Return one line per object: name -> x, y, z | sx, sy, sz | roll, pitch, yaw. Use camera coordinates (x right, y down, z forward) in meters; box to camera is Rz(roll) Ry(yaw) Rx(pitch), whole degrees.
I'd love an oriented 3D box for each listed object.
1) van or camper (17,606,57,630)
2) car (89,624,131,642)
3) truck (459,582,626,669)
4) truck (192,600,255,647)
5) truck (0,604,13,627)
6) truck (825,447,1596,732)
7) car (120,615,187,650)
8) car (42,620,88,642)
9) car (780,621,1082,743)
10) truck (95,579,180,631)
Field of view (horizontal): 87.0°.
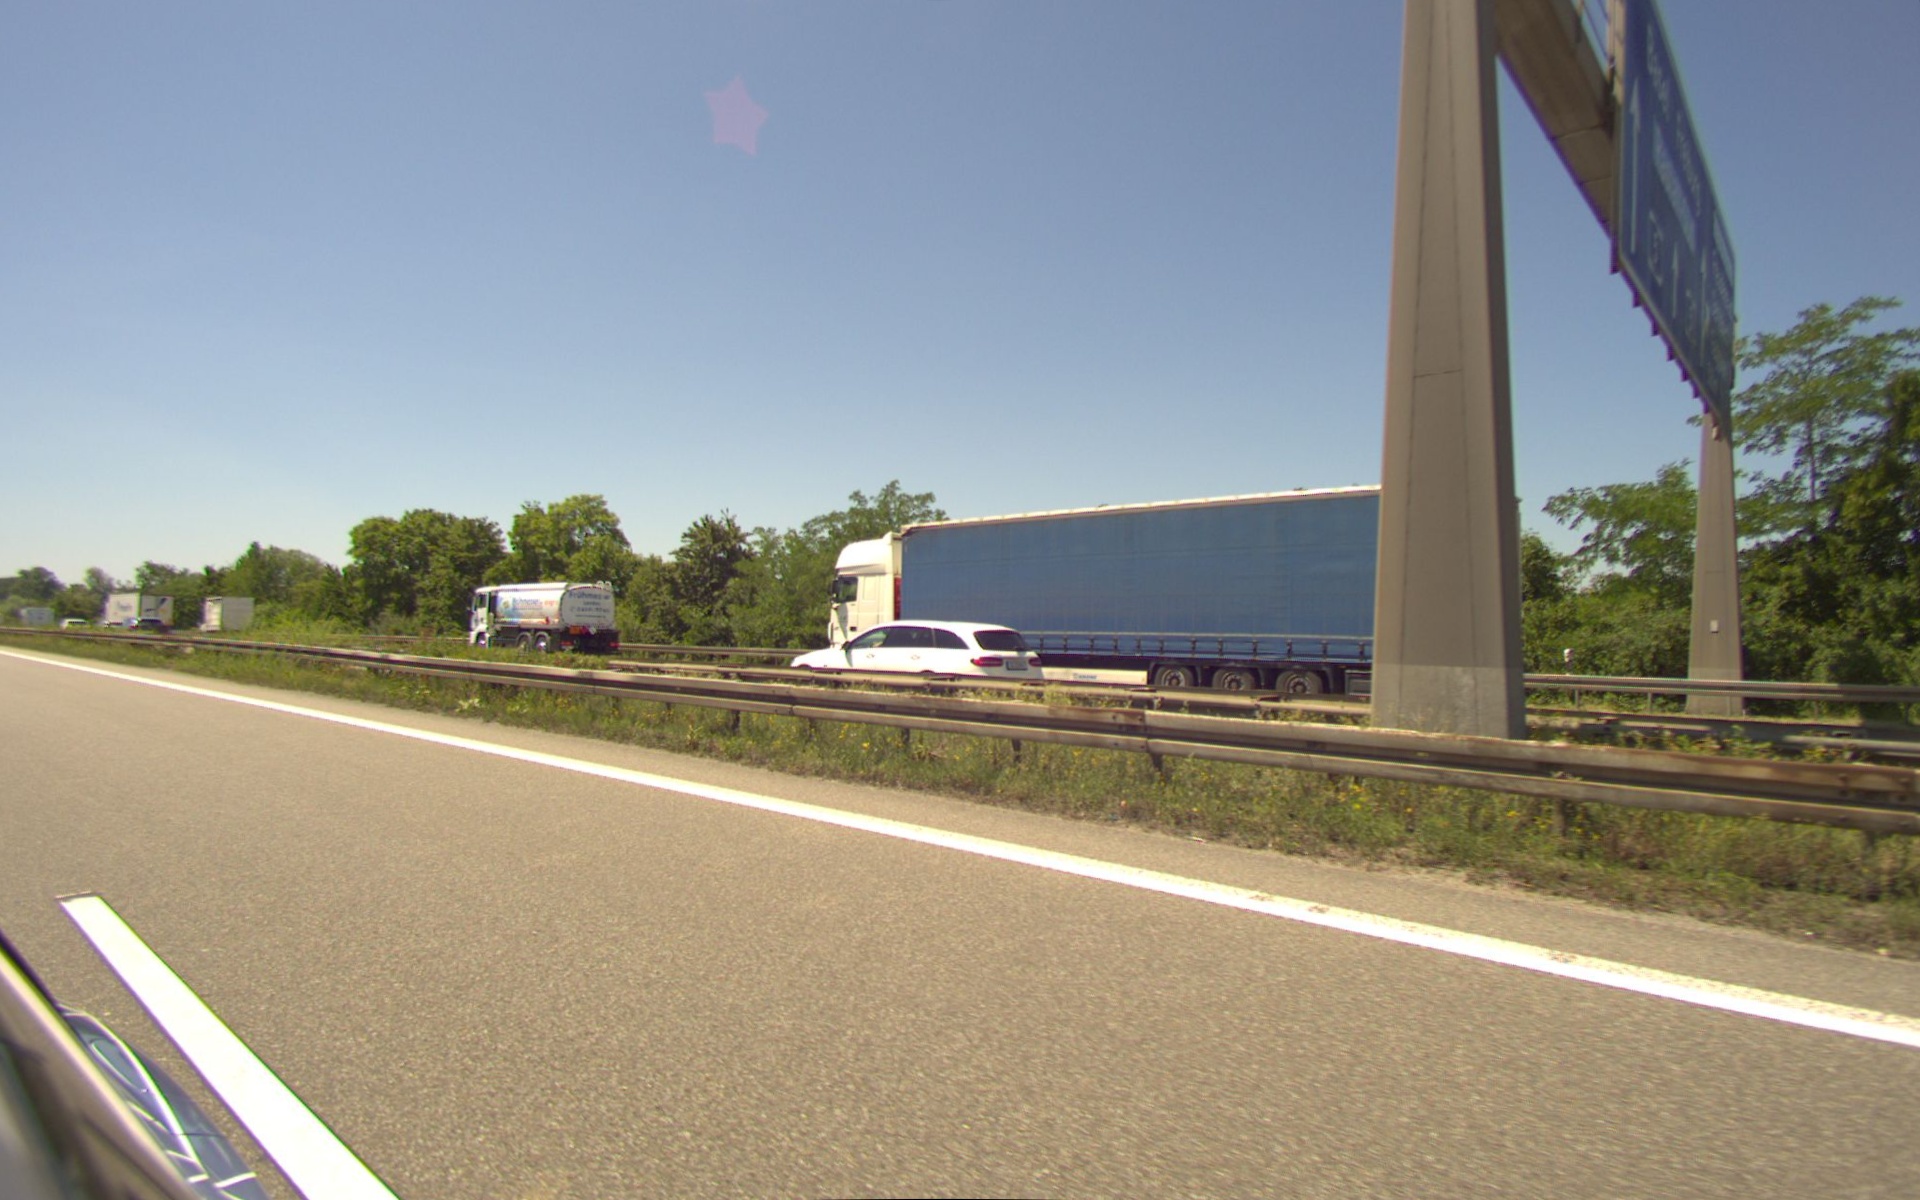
van or camper -> -103.802, 2.057, 113.768 | 7.806, 2.579, 2.442 | -1, -3, 42
car -> -71.462, 2.768, 85.047 | 4.943, 1.495, 1.972 | -1, -2, 41
truck -> -17.342, 1.040, 41.645 | 8.921, 3.232, 2.684 | -1, -2, 41
truck -> -57.169, 1.804, 78.455 | 7.419, 3.491, 2.344 | -1, -2, 41
truck -> -177.315, 2.843, 186.434 | 15.931, 4.084, 2.700 | -1, -2, 42
truck -> 3.738, -0.031, 22.431 | 17.318, 4.422, 2.684 | -1, -2, 42
car -> -42.119, 1.699, 52.845 | 4.240, 1.747, 1.973 | -1, -2, 41
car -> -65.179, 2.249, 73.663 | 4.240, 1.521, 1.973 | -1, -2, 41
car -> -0.614, 1.227, 16.857 | 5.073, 1.747, 1.972 | -1, -2, 41
truck -> -78.257, 0.595, 96.073 | 17.183, 4.411, 3.182 | -1, -5, 41
